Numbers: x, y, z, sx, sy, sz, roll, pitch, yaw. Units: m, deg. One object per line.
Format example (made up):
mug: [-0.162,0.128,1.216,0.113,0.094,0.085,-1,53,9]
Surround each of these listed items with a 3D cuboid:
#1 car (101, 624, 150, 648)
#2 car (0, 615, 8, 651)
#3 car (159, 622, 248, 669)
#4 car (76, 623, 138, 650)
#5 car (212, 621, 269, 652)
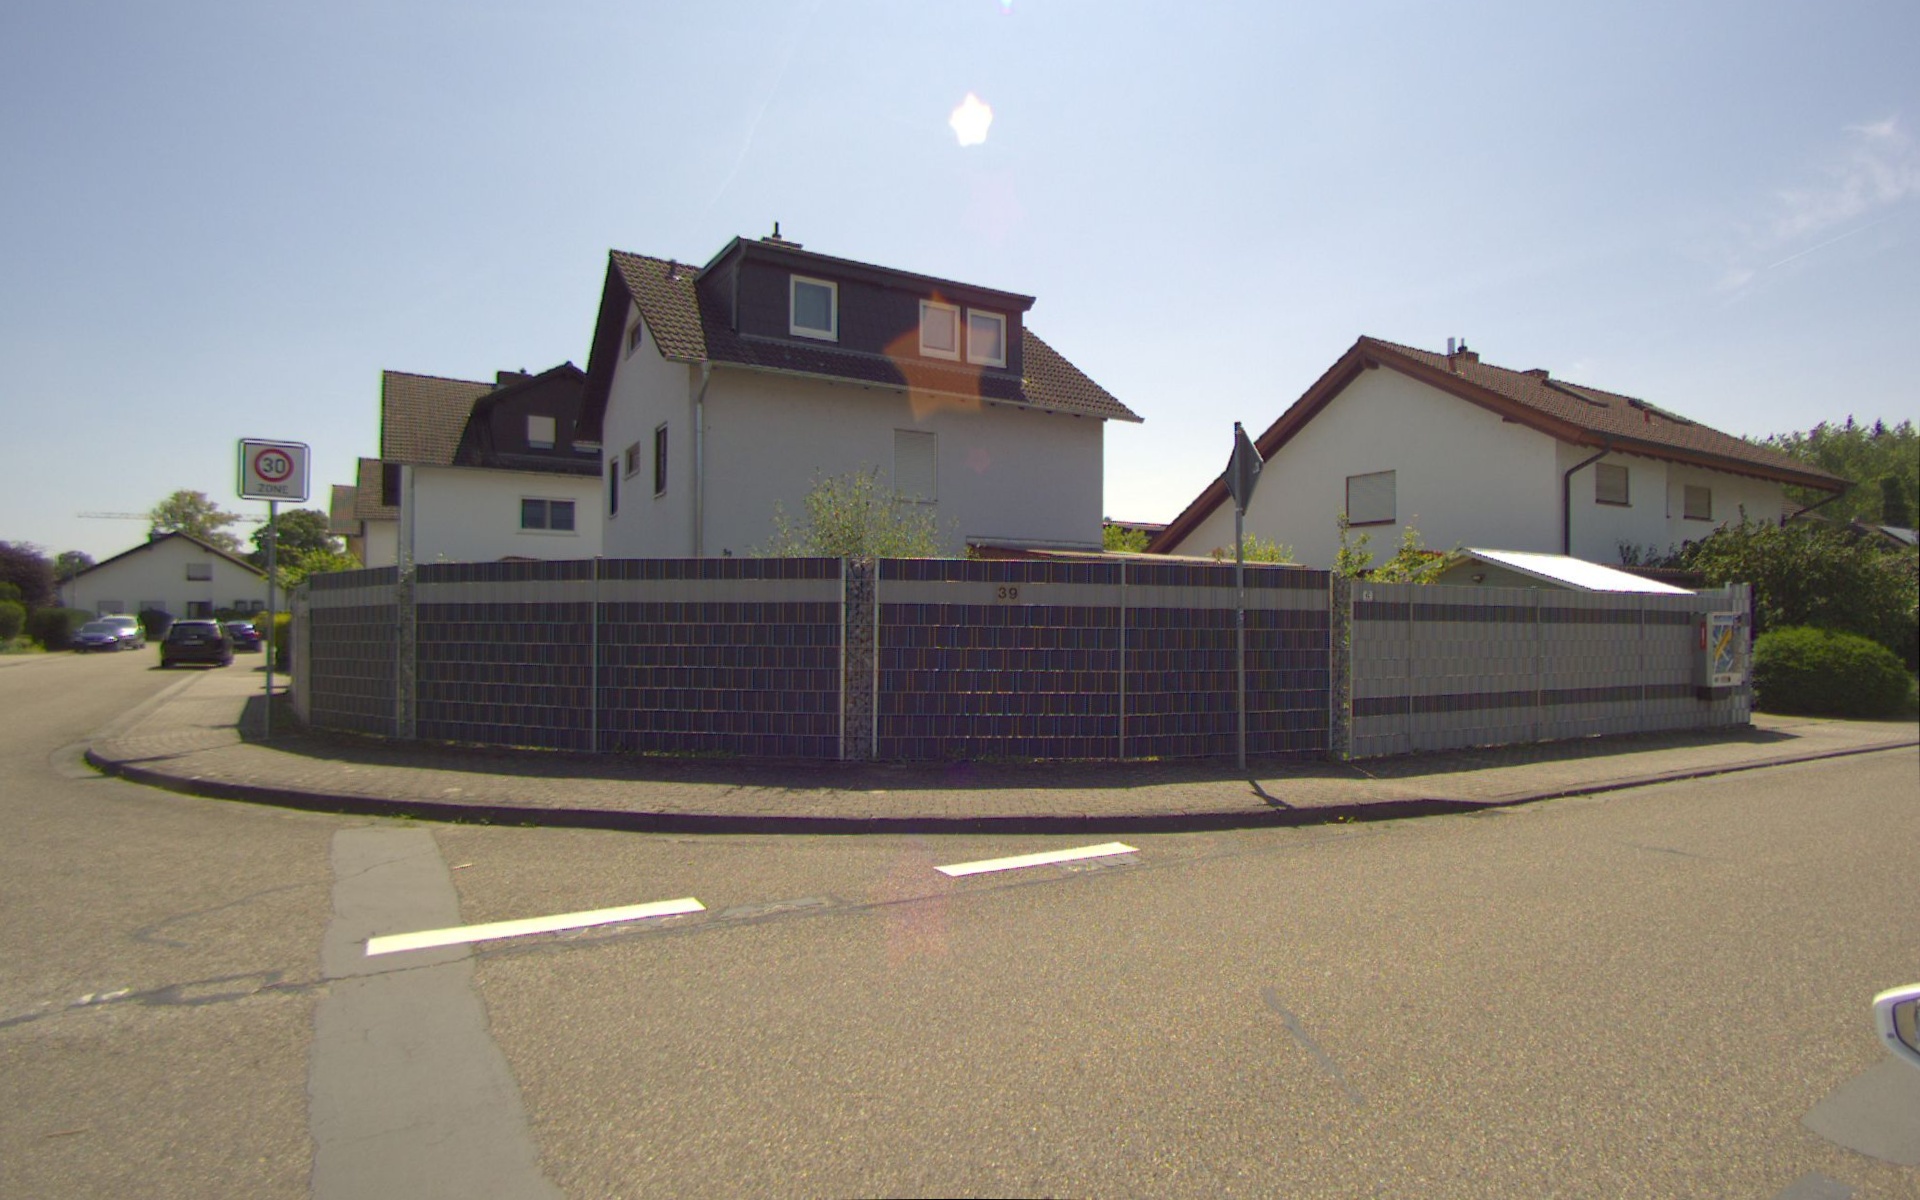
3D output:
car: [-43.655,1.852,52.584,1.481,1.186,3.402,1,-1,-32]
car: [-41.666,1.343,40.988,3.882,1.505,1.661,1,-2,-37]
car: [-24.708,1.442,32.937,1.752,1.432,3.969,1,-2,-29]
car: [-41.533,1.754,48.968,1.687,1.260,3.922,1,-1,-32]
car: [-34.651,1.736,48.460,1.752,1.432,3.969,1,-2,-29]
